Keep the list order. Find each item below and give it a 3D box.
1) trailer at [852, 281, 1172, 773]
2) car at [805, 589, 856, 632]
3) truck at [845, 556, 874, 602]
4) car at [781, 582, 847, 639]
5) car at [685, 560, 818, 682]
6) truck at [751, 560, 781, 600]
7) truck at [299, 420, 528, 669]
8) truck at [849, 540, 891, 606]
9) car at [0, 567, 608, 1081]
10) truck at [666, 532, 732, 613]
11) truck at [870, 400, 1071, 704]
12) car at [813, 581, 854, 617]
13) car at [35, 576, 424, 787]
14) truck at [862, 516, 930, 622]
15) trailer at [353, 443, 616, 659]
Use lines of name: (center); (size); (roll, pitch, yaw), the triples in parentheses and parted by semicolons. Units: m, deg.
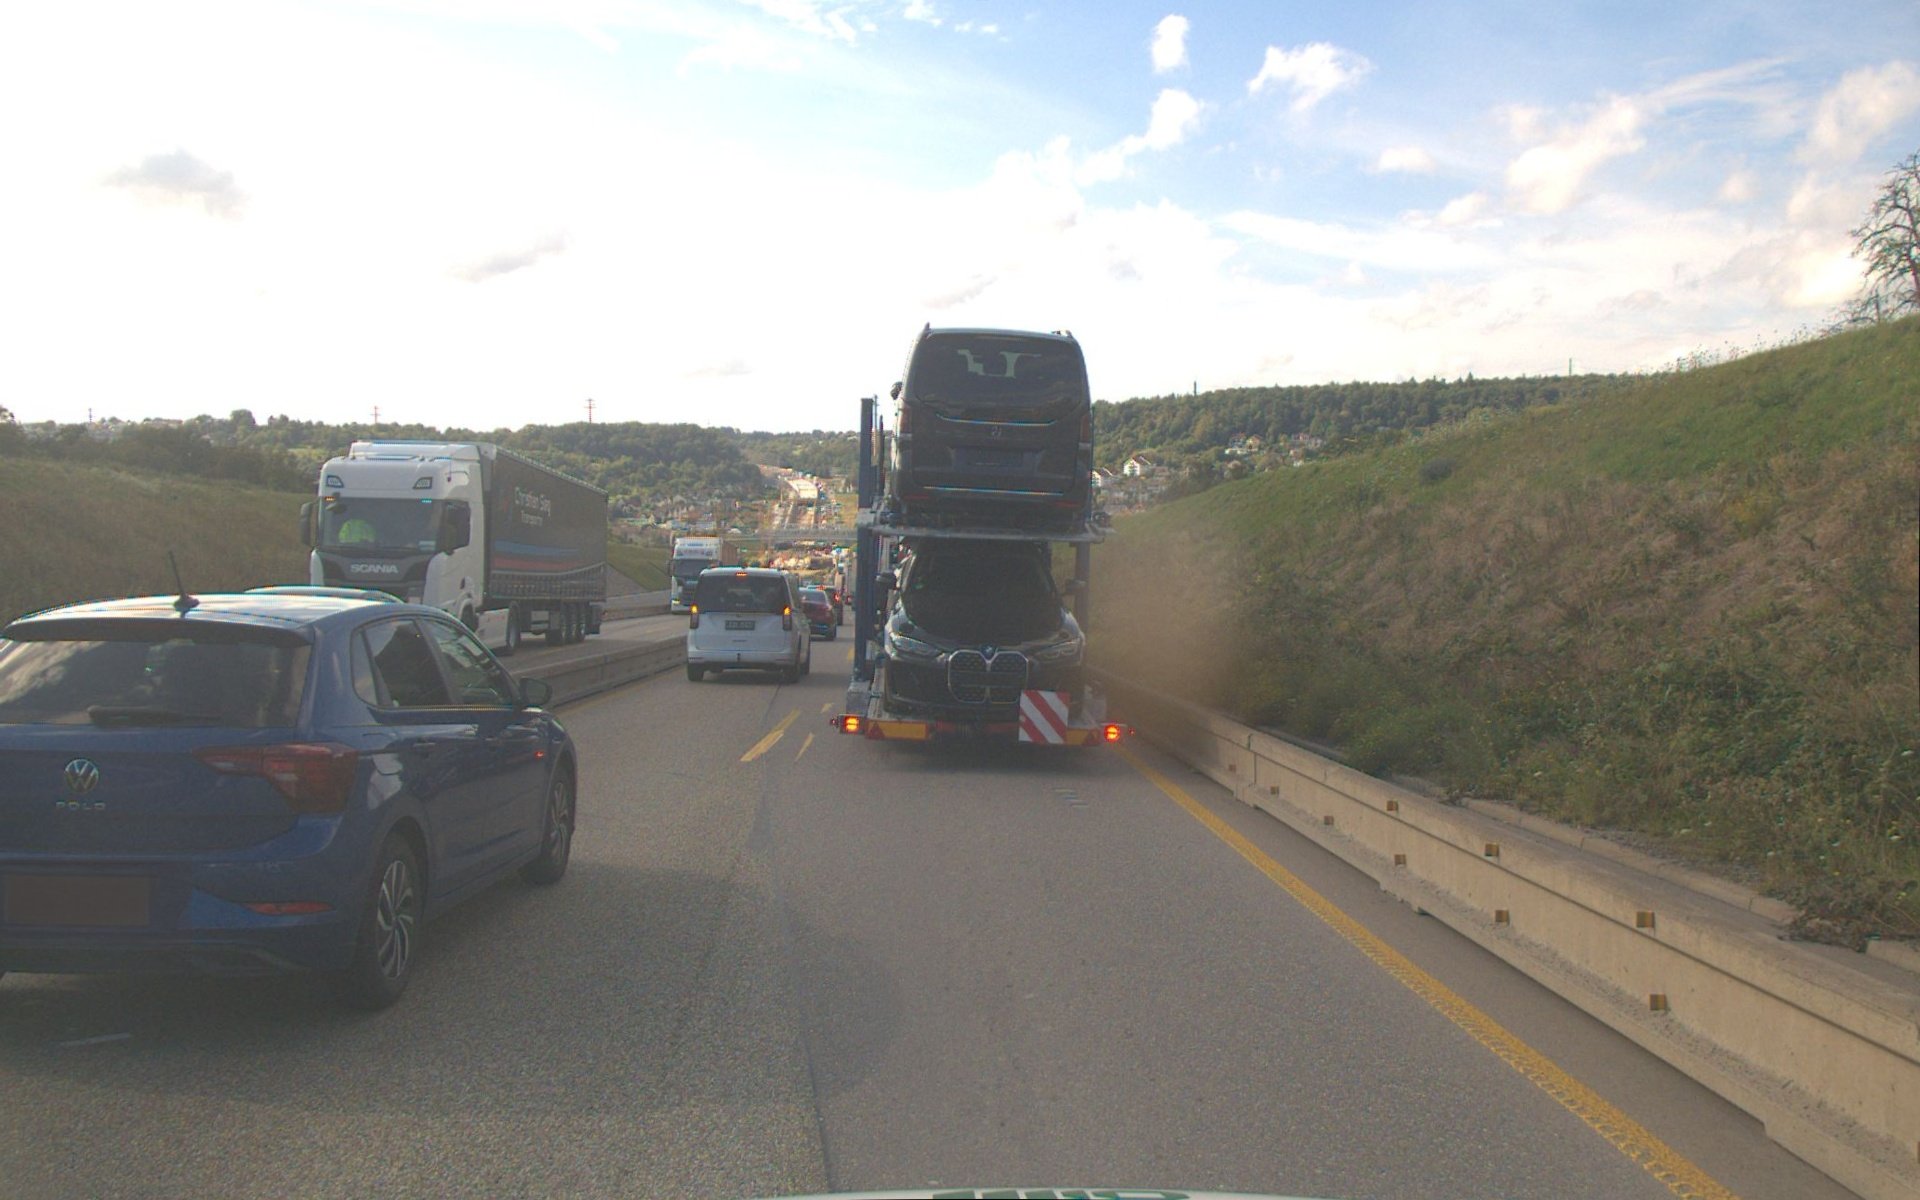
trailer: (0.250, -0.651, 19.569); (2.653, 4.099, 11.415); (1, 0, -2)
car: (-5.436, 0.417, 70.020); (1.954, 1.653, 4.747); (2, 0, -3)
truck: (-10.462, -2.140, 170.908); (2.807, 4.650, 11.648); (1, 0, -4)
car: (-4.292, 0.274, 49.135); (1.787, 1.518, 4.681); (2, 1, -4)
car: (-3.442, 0.297, 28.050); (1.786, 1.855, 4.455); (2, 1, -2)
truck: (-20.963, -2.186, 179.109); (2.586, 4.171, 10.811); (1, 0, -3)
truck: (-10.104, -0.964, 31.193); (2.562, 4.226, 5.778); (1, 0, -3)
truck: (-6.761, -1.988, 123.016); (2.807, 4.650, 11.648); (1, 0, -4)
car: (-2.746, 0.662, 6.991); (1.680, 1.534, 3.999); (1, 0, -1)
truck: (-14.227, -1.466, 90.903); (2.586, 4.171, 10.810); (1, 0, -4)
truck: (0.031, -0.649, 24.869); (2.624, 3.990, 6.025); (1, 0, -2)
car: (-5.776, -0.063, 76.039); (1.760, 1.624, 4.740); (0, 0, -3)
car: (-6.406, 0.654, 15.048); (1.784, 1.631, 3.999); (1, 0, -1)
truck: (-3.182, -1.408, 78.830); (2.807, 4.650, 11.648); (1, 0, -4)
trailer: (-10.370, -0.976, 37.970); (2.562, 4.023, 13.867); (1, 0, -2)
